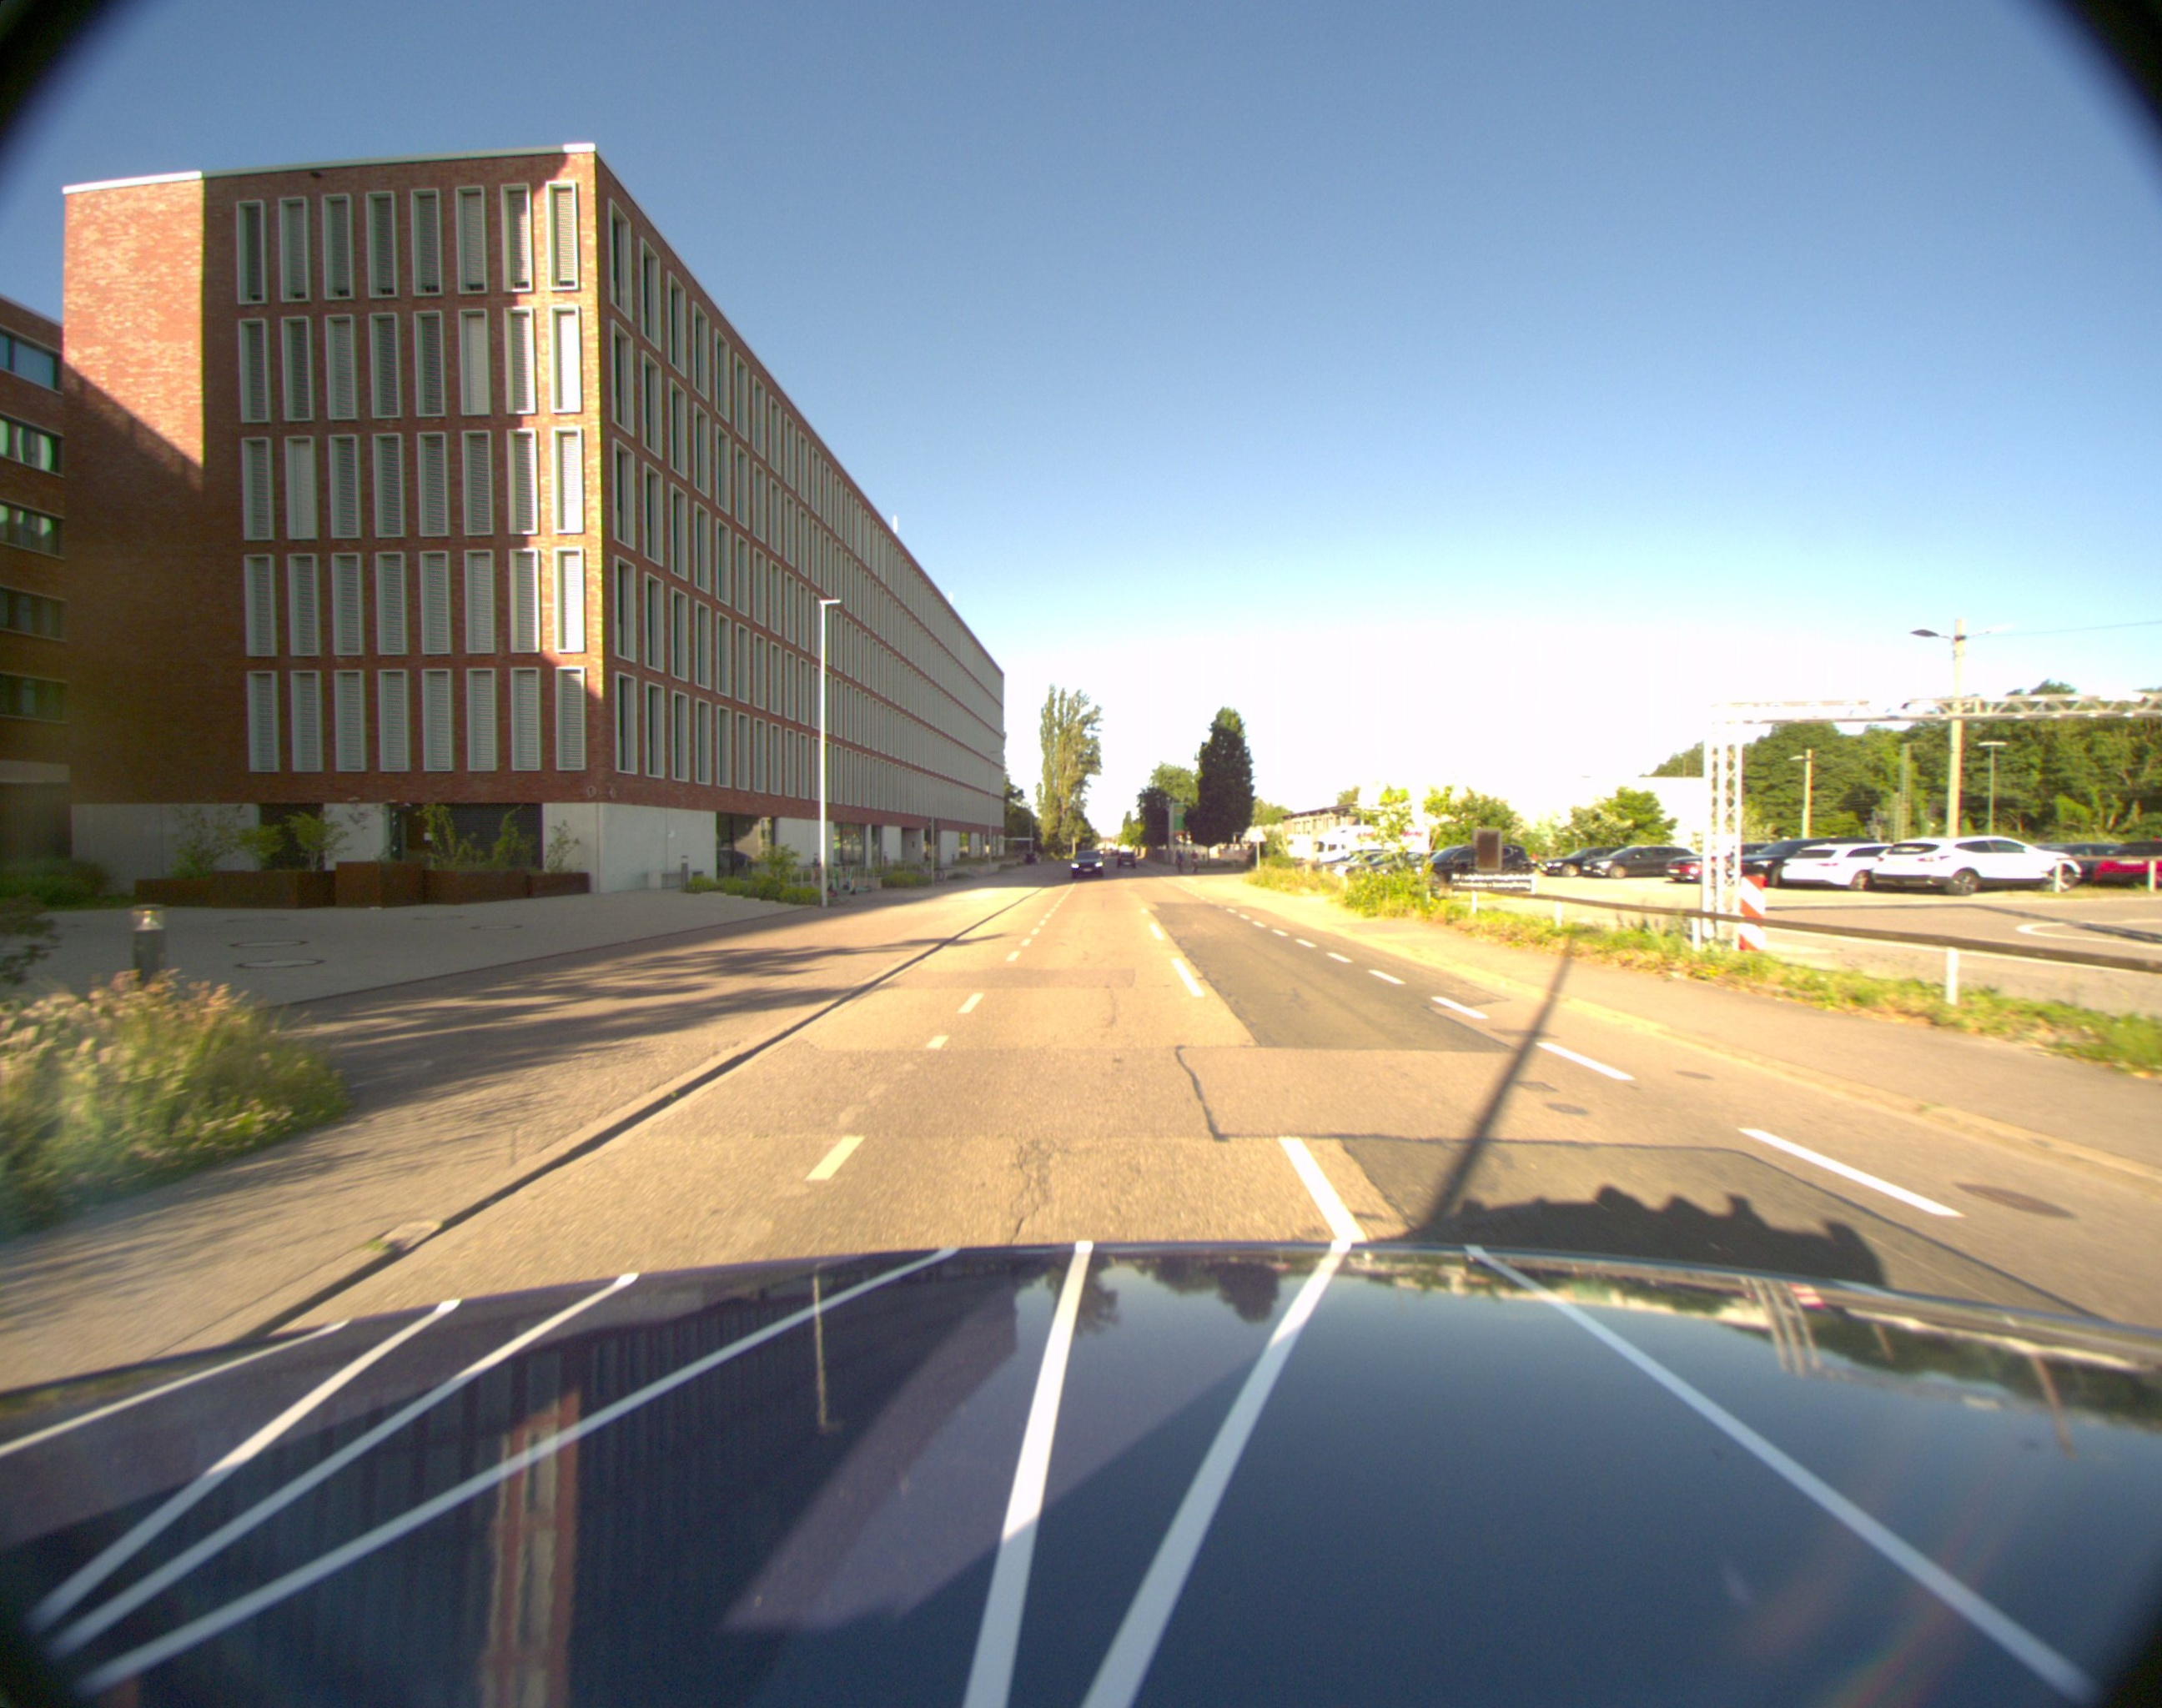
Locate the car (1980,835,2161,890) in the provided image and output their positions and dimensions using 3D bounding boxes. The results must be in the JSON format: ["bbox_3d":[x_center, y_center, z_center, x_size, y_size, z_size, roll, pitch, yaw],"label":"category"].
[{"bbox_3d":[30.253,0.230,22.944,3.997,1.540,1.913,-1,0,-1],"label":"car"}]

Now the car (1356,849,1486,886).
[{"bbox_3d":[13.828,0.526,31.110,4.438,1.453,2.049,0,1,3],"label":"car"}]

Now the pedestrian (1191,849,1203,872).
[{"bbox_3d":[8.761,0.462,57.403,0.722,1.711,1.057,0,1,2],"label":"pedestrian"}]

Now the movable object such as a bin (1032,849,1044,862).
[{"bbox_3d":[-4.718,0.135,83.390,1.131,1.364,1.345,0,1,1],"label":"movable object such as a bin"}]

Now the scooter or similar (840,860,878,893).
[{"bbox_3d":[-8.560,0.858,29.346,1.343,1.238,0.424,0,1,6],"label":"scooter or similar"}]

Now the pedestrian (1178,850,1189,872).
[{"bbox_3d":[7.747,0.522,57.709,0.722,1.711,1.057,0,1,2],"label":"pedestrian"}]

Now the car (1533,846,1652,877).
[{"bbox_3d":[24.833,0.353,36.997,4.414,1.457,2.048,0,1,-2],"label":"car"}]

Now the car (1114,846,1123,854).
[{"bbox_3d":[7.481,-0.826,152.479,1.745,1.517,4.111,3,1,1],"label":"car"}]

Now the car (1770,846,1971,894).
[{"bbox_3d":[24.343,0.456,23.563,4.171,1.389,2.048,0,1,-2],"label":"car"}]

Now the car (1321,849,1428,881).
[{"bbox_3d":[14.186,0.513,36.932,4.438,1.453,2.049,0,1,3],"label":"car"}]

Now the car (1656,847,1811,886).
[{"bbox_3d":[24.630,0.435,28.806,4.171,1.389,2.048,0,1,-2],"label":"car"}]

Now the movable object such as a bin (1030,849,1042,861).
[{"bbox_3d":[-4.819,0.114,81.768,1.131,1.328,1.345,0,1,1],"label":"movable object such as a bin"}]

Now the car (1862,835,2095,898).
[{"bbox_3d":[24.716,0.323,21.053,4.171,1.652,1.966,0,1,-1],"label":"car"}]

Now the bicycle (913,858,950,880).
[{"bbox_3d":[-8.069,0.808,41.107,1.937,1.163,0.375,1,1,-4],"label":"bicycle"}]

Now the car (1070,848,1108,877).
[{"bbox_3d":[0.571,0.495,48.481,1.998,1.608,4.001,-3,1,6],"label":"car"}]

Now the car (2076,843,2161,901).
[{"bbox_3d":[30.316,0.460,20.578,4.171,1.521,1.966,0,1,-1],"label":"car"}]

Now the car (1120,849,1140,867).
[{"bbox_3d":[4.460,0.375,69.145,1.658,1.495,4.000,1,1,2],"label":"car"}]

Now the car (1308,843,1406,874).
[{"bbox_3d":[14.295,0.236,39.577,4.438,1.571,2.049,0,1,3],"label":"car"}]

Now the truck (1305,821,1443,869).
[{"bbox_3d":[23.625,-0.734,61.677,10.123,3.594,2.775,-1,2,1],"label":"truck"}]

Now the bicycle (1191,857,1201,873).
[{"bbox_3d":[8.721,0.822,57.630,0.471,1.142,1.869,-2,1,2],"label":"bicycle"}]

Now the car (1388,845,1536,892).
[{"bbox_3d":[13.994,0.519,28.128,4.438,1.660,2.049,0,1,3],"label":"car"}]

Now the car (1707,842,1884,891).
[{"bbox_3d":[24.337,0.396,26.008,4.171,1.569,2.048,0,1,-2],"label":"car"}]

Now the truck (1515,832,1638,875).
[{"bbox_3d":[32.524,-0.059,50.049,6.511,2.791,2.316,0,1,1],"label":"truck"}]

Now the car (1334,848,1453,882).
[{"bbox_3d":[13.766,0.464,33.703,4.438,1.453,2.049,0,1,3],"label":"car"}]

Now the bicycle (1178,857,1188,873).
[{"bbox_3d":[7.738,0.807,57.736,0.447,1.142,2.201,-2,1,2],"label":"bicycle"}]

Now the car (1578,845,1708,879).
[{"bbox_3d":[25.246,0.321,34.249,4.414,1.457,2.048,0,1,-2],"label":"car"}]

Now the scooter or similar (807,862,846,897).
[{"bbox_3d":[-8.804,0.892,26.315,1.245,1.188,0.340,0,1,6],"label":"scooter or similar"}]

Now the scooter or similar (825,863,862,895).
[{"bbox_3d":[-8.660,0.898,27.750,1.245,1.149,0.366,0,1,6],"label":"scooter or similar"}]
